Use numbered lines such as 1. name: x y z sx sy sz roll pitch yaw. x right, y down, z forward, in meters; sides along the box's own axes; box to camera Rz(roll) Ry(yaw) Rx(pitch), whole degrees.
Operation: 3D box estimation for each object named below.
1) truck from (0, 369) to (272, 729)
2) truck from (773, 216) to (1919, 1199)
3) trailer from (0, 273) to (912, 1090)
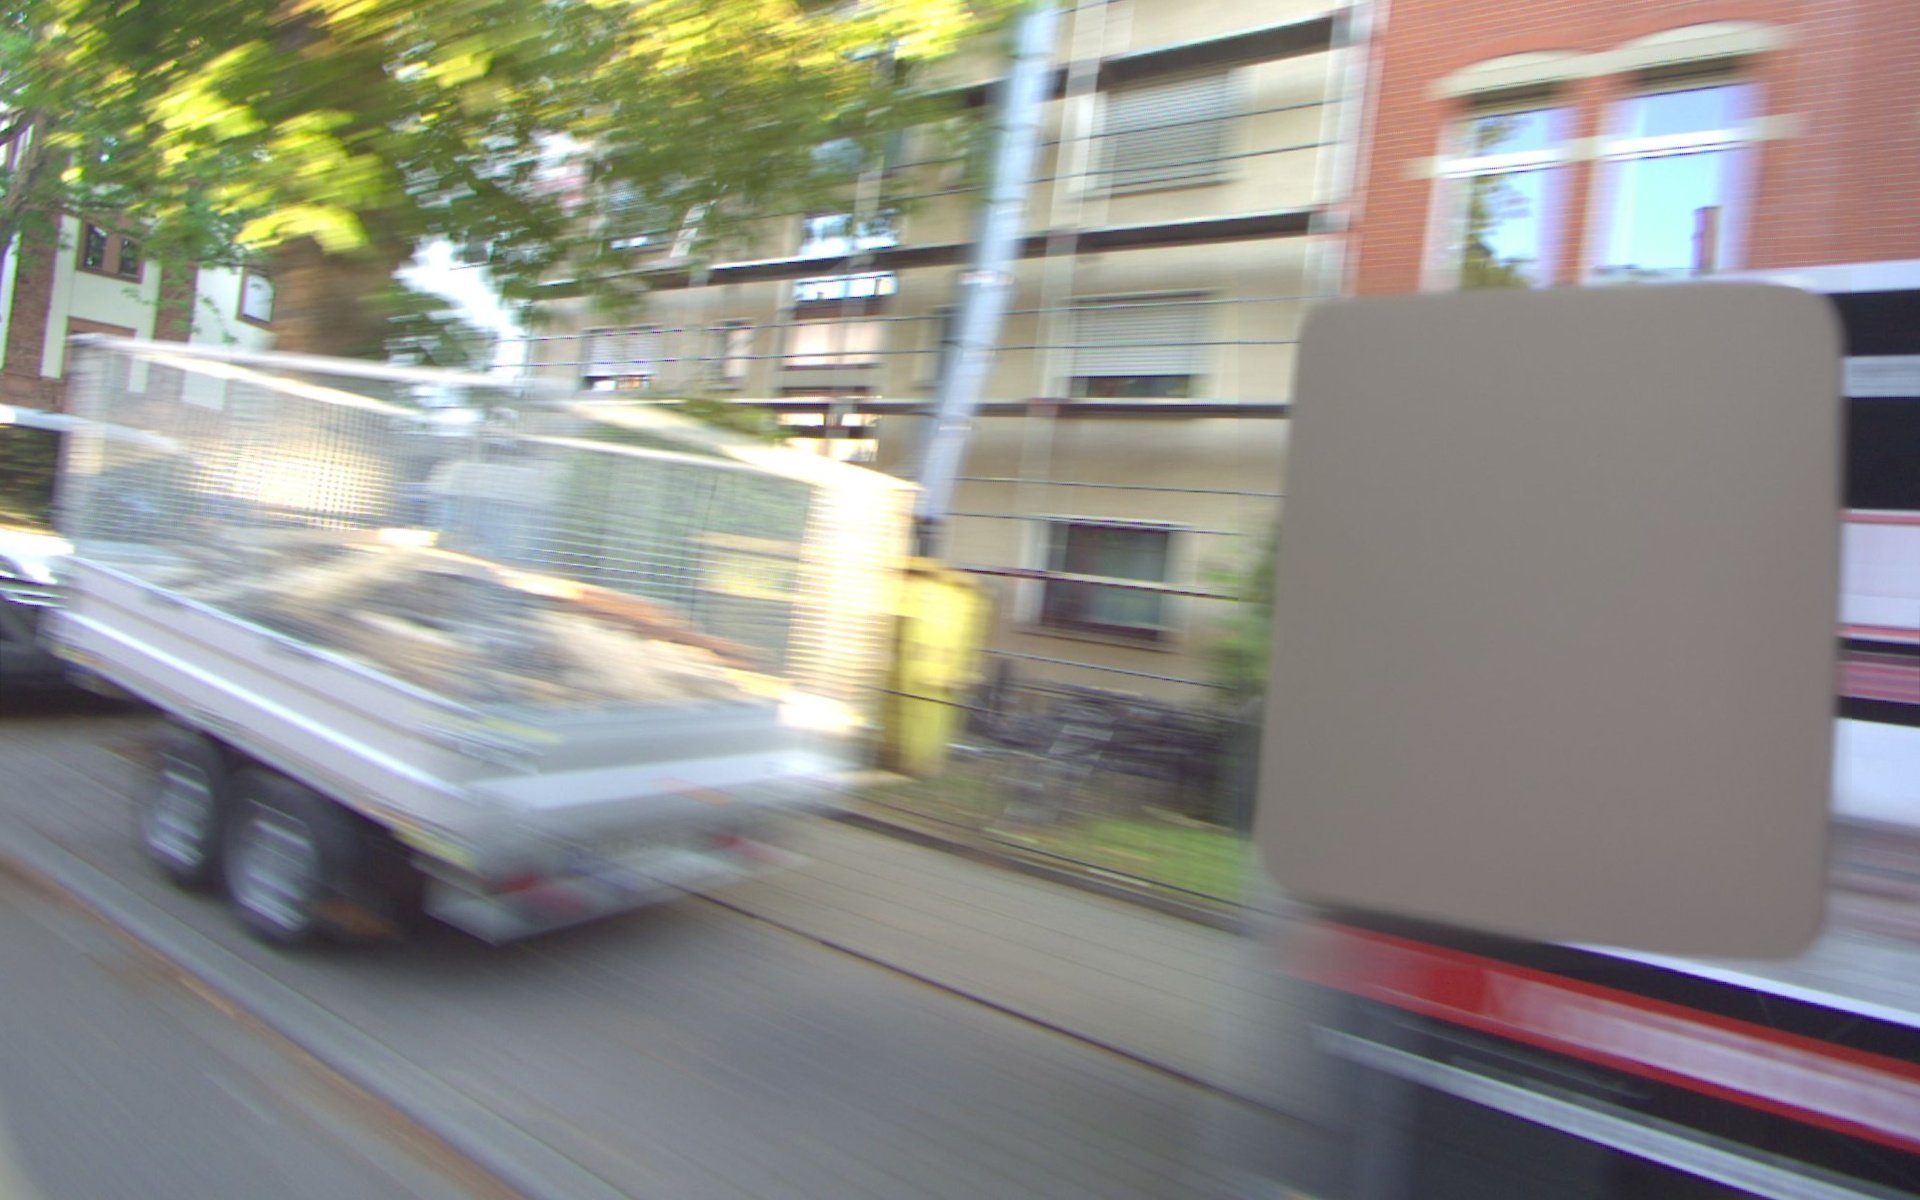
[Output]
1. truck: -8.718 -0.592 8.449 6.661 2.271 1.981 7 -1 30
2. truck: 2.043 0.621 2.283 4.568 2.276 1.955 8 2 33
3. trailer: -2.767 0.054 4.875 4.567 2.325 1.955 7 2 32
